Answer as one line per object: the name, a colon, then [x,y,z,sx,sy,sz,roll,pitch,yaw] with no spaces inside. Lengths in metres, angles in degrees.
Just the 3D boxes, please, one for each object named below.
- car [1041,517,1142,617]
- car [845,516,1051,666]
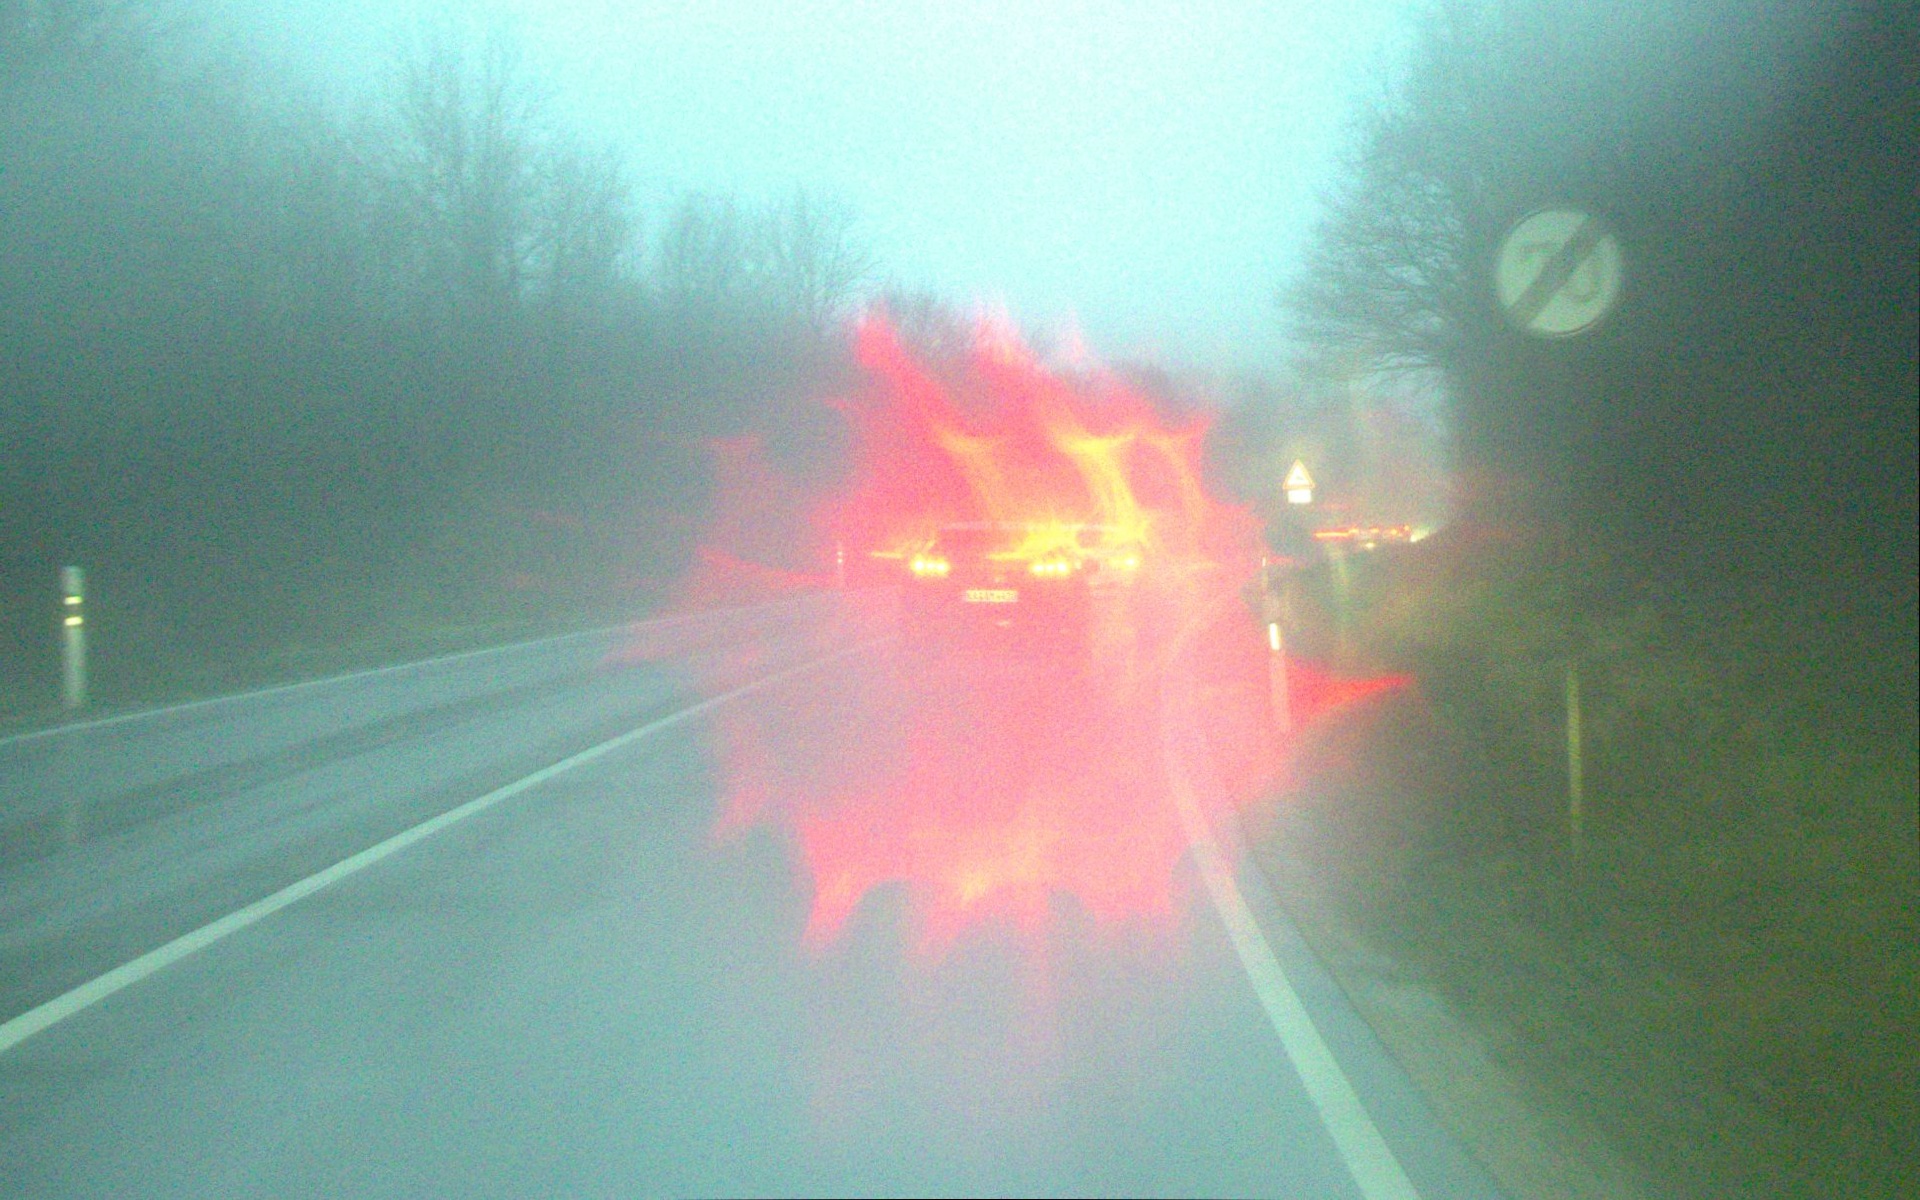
car: [2.289,-0.593,59.385,1.679,1.669,4.098,0,1,3]
car: [-0.058,-0.124,33.751,1.679,1.385,4.097,0,1,5]
